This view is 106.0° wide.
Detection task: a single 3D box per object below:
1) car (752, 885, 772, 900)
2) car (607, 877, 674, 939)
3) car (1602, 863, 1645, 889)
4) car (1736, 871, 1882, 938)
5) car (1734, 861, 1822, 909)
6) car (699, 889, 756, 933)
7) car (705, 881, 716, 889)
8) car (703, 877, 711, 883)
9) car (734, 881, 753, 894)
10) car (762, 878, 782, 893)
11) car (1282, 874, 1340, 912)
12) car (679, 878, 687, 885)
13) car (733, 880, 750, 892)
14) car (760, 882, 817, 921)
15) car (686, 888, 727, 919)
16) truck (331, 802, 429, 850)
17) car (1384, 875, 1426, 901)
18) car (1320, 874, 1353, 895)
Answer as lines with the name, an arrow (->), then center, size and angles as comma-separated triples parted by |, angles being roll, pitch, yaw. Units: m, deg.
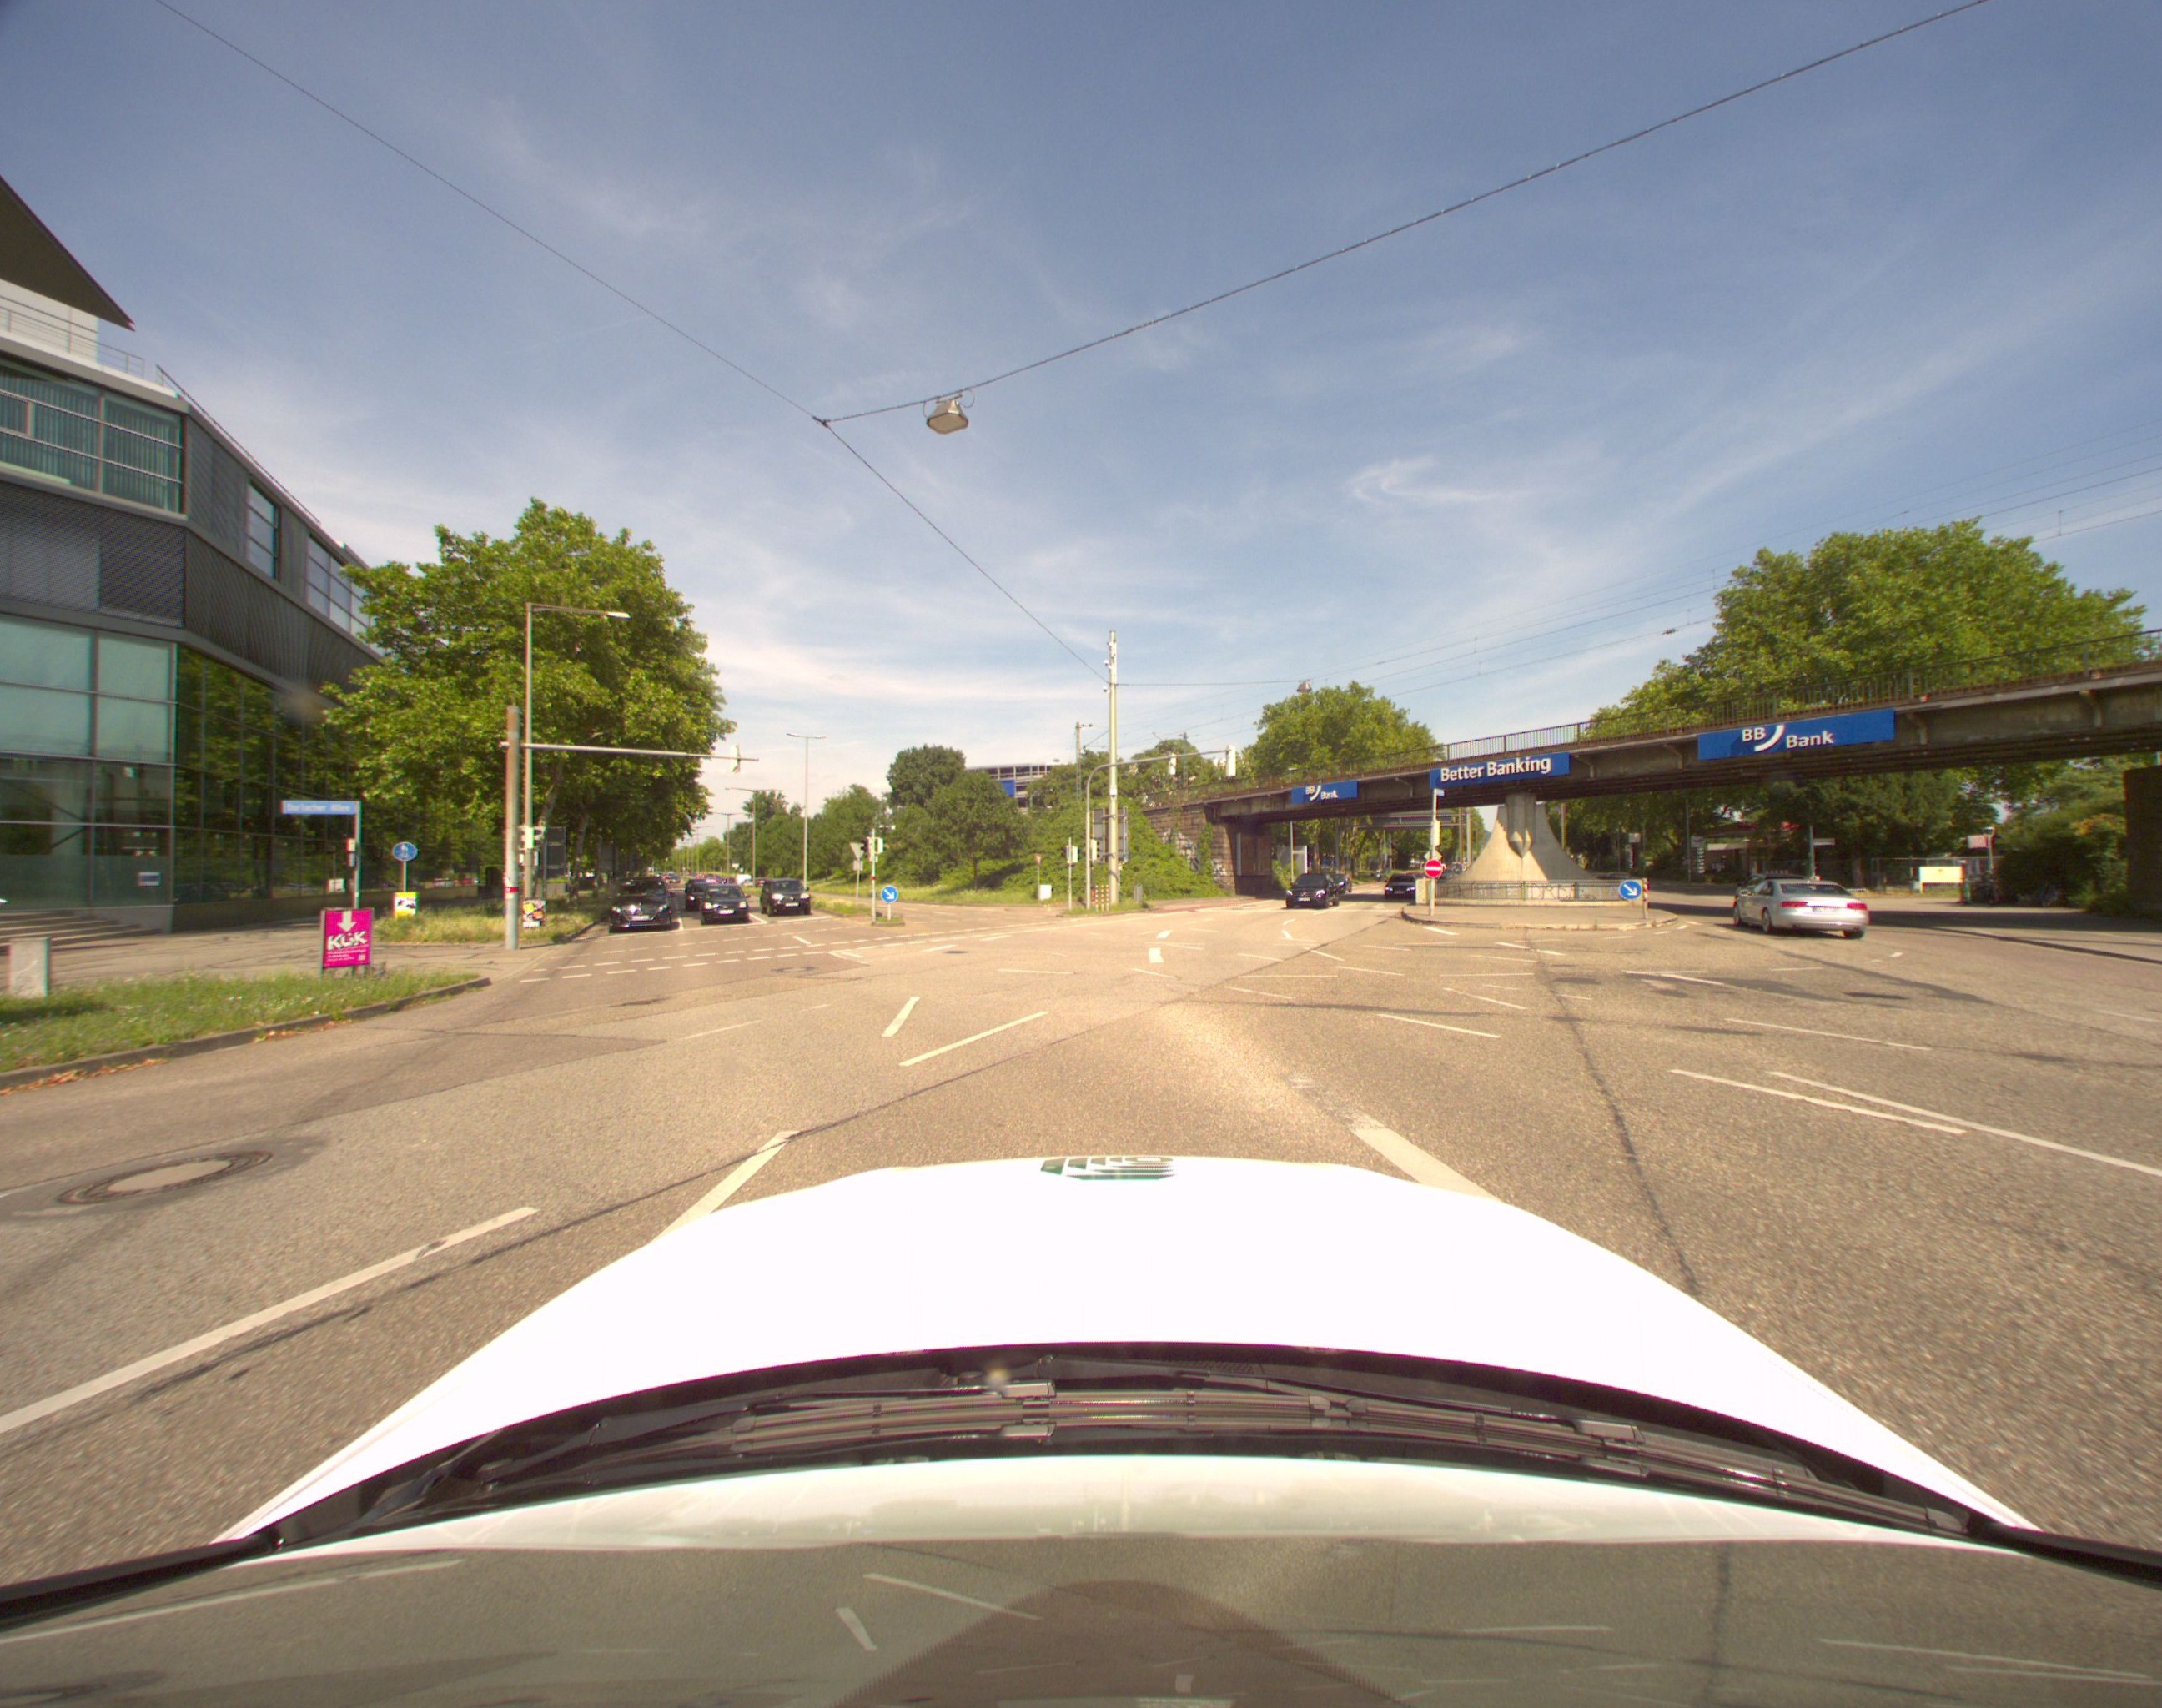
car -> -37.761, 4.540, 96.324 | 1.746, 1.536, 3.965 | 1, 0, -27
car -> -15.826, 1.858, 29.404 | 1.949, 1.920, 5.181 | 0, -1, -27
car -> 36.730, 1.461, 55.217 | 1.920, 1.601, 4.023 | 1, 0, 26
car -> 19.387, 1.262, 21.936 | 1.975, 1.508, 4.510 | 1, 0, 29
car -> 27.375, 1.166, 32.116 | 1.893, 1.769, 4.025 | -1, -1, 30
car -> -13.638, 2.127, 31.317 | 1.771, 1.475, 3.922 | 0, -2, -27
car -> -66.675, 5.603, 146.544 | 1.635, 1.483, 4.011 | 2, -3, -28
car -> -104.534, 7.287, 227.582 | 1.923, 1.846, 3.963 | 0, -2, -29
car -> -45.483, 4.501, 109.667 | 2.005, 1.684, 3.964 | 0, -2, -27
car -> -41.275, 4.214, 108.662 | 2.029, 1.838, 3.965 | 1, 0, -27
car -> 10.984, 1.801, 38.671 | 1.976, 1.596, 4.470 | -1, 0, 24
car -> -112.134, 7.835, 229.239 | 2.004, 1.860, 3.965 | 0, -2, -26
car -> -50.256, 4.665, 120.623 | 2.004, 1.708, 4.225 | 0, -2, -27
car -> -13.377, 2.094, 37.051 | 1.818, 1.615, 4.449 | 0, -1, -28
car -> -20.191, 2.630, 43.832 | 1.846, 1.462, 4.477 | -2, -1, -27
truck -> -56.779, -2.206, 65.912 | 8.877, 3.396, 2.689 | -2, -2, 26
car -> 19.030, 1.947, 47.729 | 1.671, 1.442, 4.024 | -1, -2, 30
car -> 19.161, 2.225, 60.964 | 1.805, 1.507, 4.240 | -1, -2, 25
